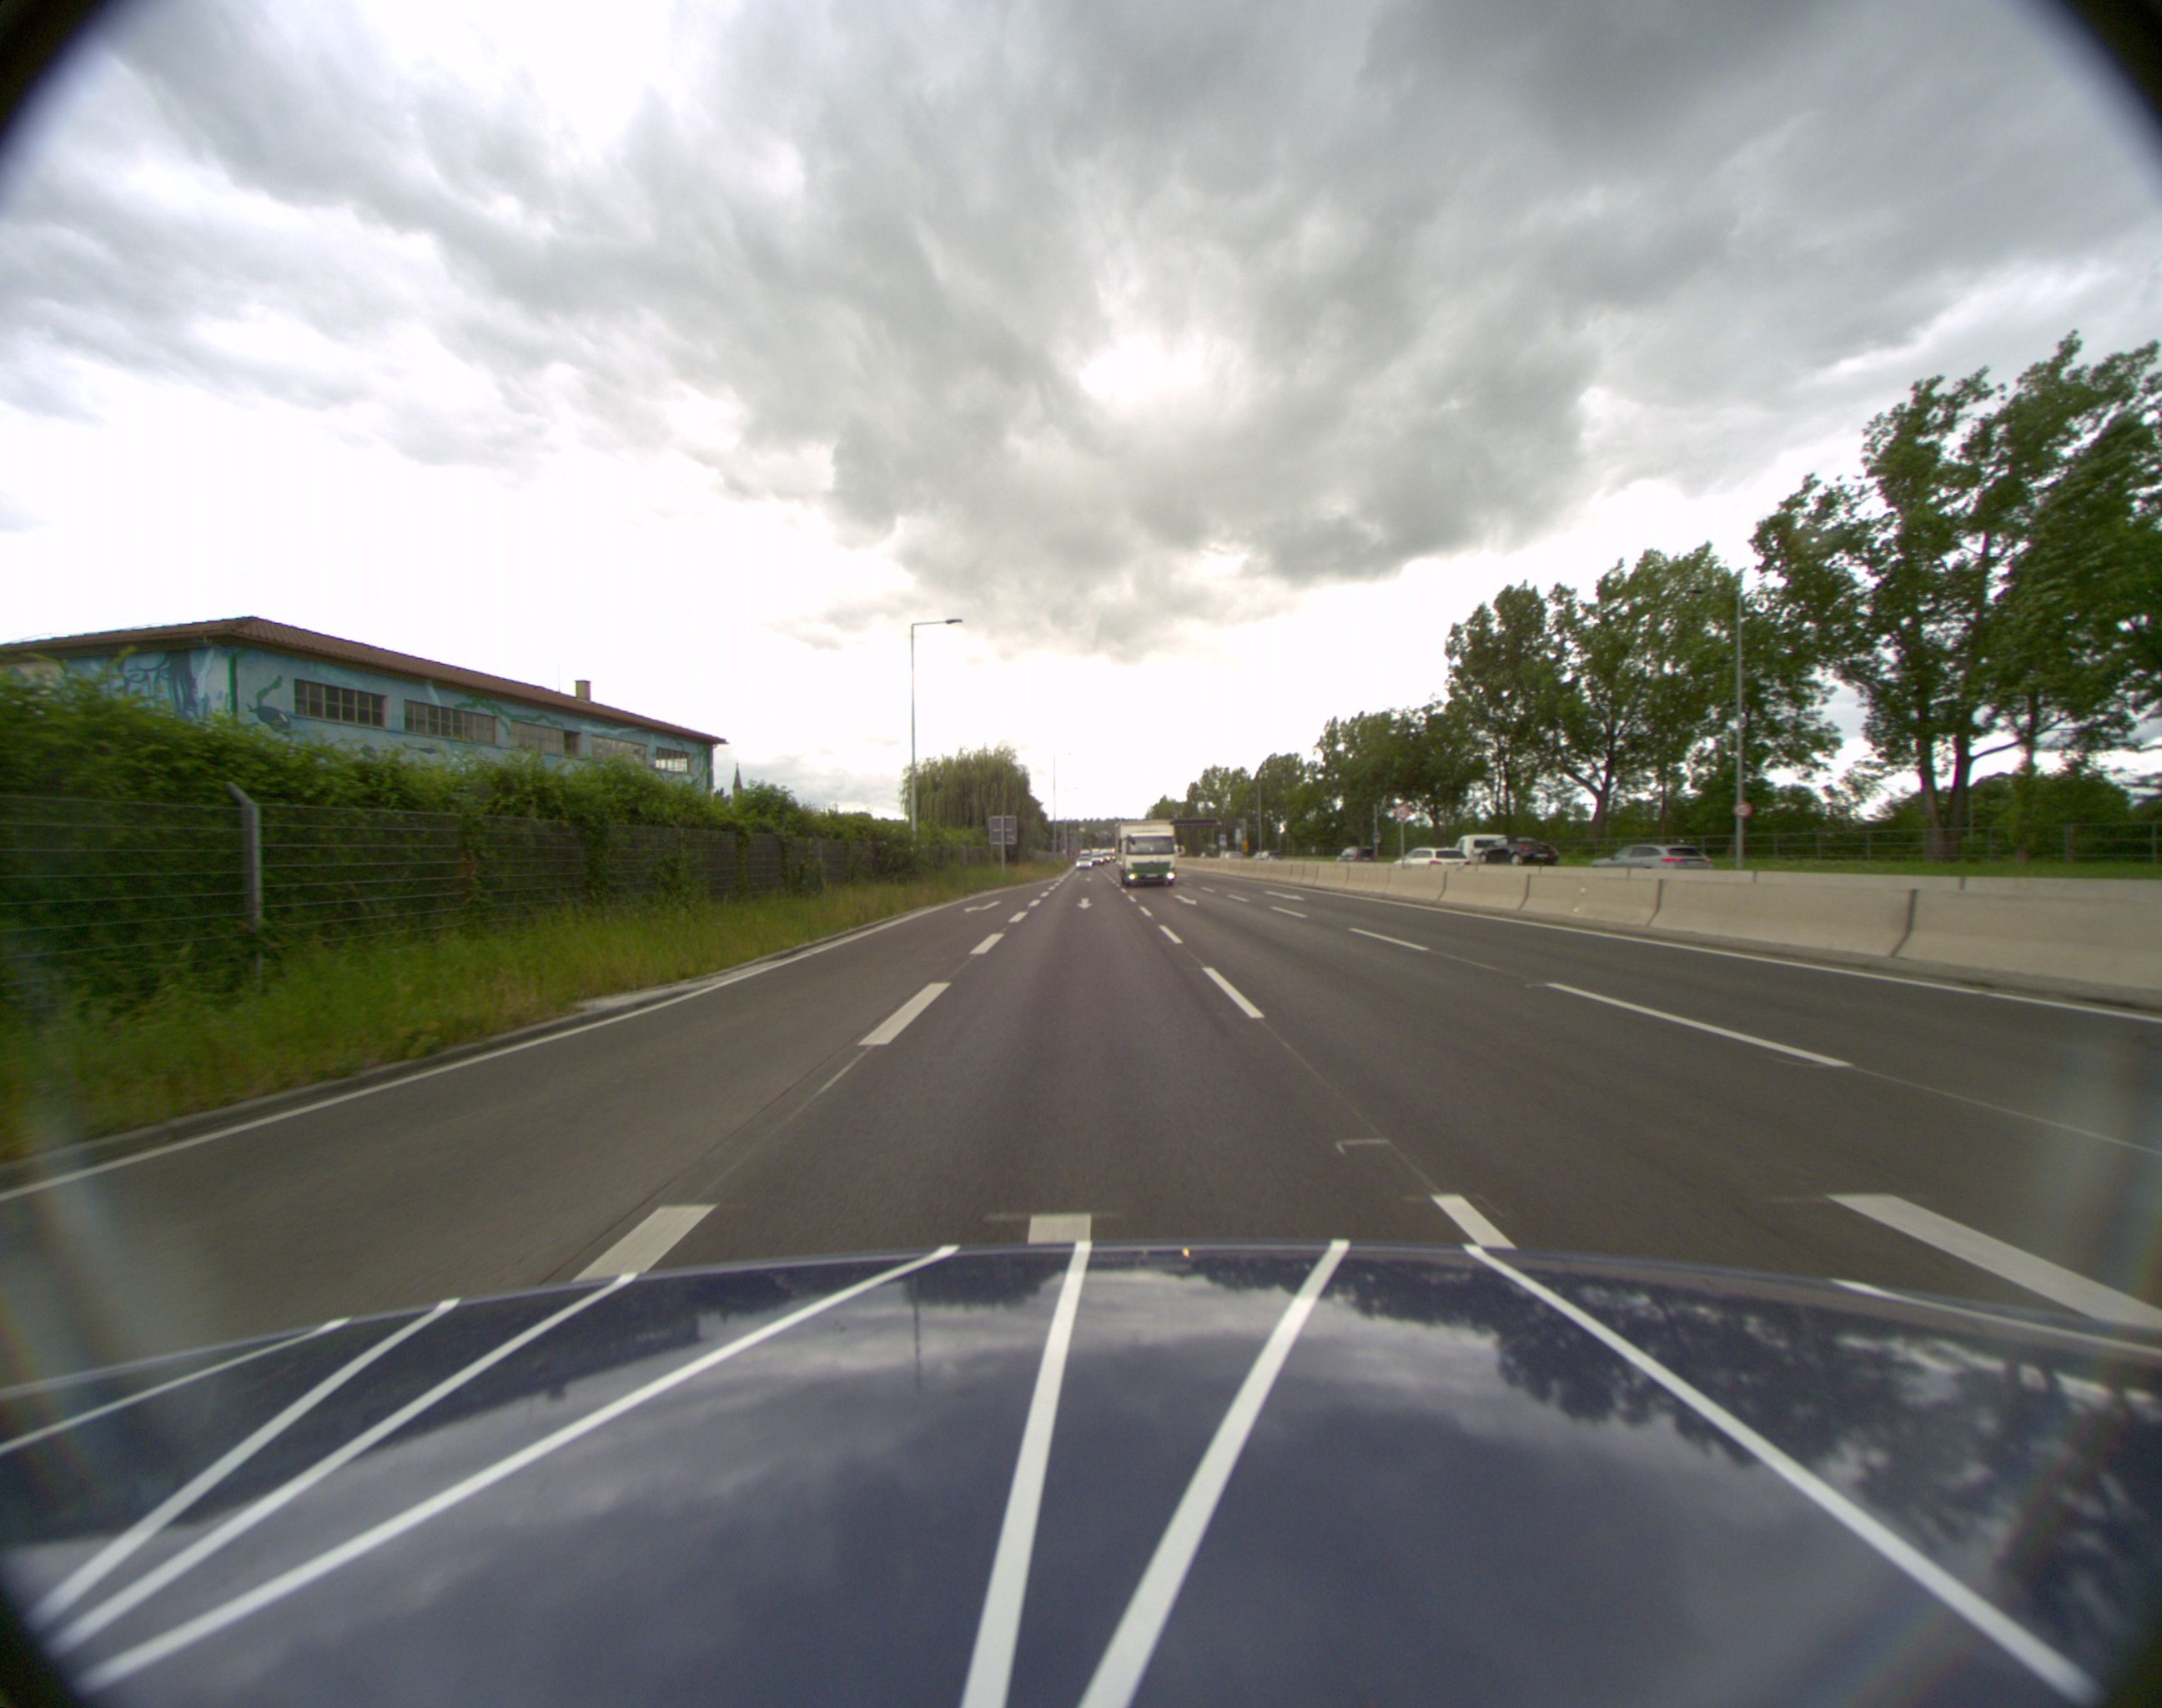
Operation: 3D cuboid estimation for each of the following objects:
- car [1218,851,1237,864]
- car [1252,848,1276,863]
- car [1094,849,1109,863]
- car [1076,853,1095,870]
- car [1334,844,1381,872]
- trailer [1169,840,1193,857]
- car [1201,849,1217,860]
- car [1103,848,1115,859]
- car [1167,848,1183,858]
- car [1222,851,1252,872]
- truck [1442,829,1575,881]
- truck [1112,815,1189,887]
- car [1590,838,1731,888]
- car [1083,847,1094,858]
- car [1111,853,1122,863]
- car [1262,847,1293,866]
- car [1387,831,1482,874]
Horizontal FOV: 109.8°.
[{"bbox_3d":[21.737,0.487,113.135,1.998,1.728,4.470,-3,0,1],"label":"car"},{"bbox_3d":[21.981,0.179,91.360,1.882,1.673,4.122,-3,0,1],"label":"car"},{"bbox_3d":[2.990,0.310,112.325,1.998,2.002,4.000,-3,0,0],"label":"car"},{"bbox_3d":[0.549,0.857,86.433,1.998,1.849,4.000,-3,0,0],"label":"car"},{"bbox_3d":[22.347,0.319,61.656,1.998,2.002,4.937,-3,0,1],"label":"car"},{"bbox_3d":[21.387,-1.108,163.500,3.109,3.201,11.667,-3,0,-2],"label":"trailer"},{"bbox_3d":[21.371,0.062,127.177,1.998,1.728,4.304,-3,0,1],"label":"car"},{"bbox_3d":[5.261,-0.045,142.299,1.998,2.002,4.000,-3,0,0],"label":"car"},{"bbox_3d":[15.612,-0.180,126.792,1.998,1.550,4.886,-3,0,0],"label":"car"},{"bbox_3d":[15.667,0.737,76.606,1.998,2.002,4.681,-3,0,1],"label":"car"},{"bbox_3d":[18.722,0.056,33.754,2.210,2.002,6.301,-3,0,-1],"label":"truck"},{"bbox_3d":[3.296,-0.111,38.416,2.943,3.064,8.387,-3,0,0],"label":"truck"},{"bbox_3d":[22.035,0.326,29.162,1.998,1.674,4.412,-3,0,0],"label":"car"},{"bbox_3d":[1.371,-0.343,148.337,1.998,2.002,4.000,-3,0,0],"label":"car"},{"bbox_3d":[7.379,0.825,157.689,1.998,2.002,4.000,-3,0,1],"label":"car"},{"bbox_3d":[19.027,0.246,73.769,1.882,1.673,4.126,-3,0,1],"label":"car"},{"bbox_3d":[15.707,-0.050,34.072,1.998,1.658,4.695,-3,0,0],"label":"car"}]
